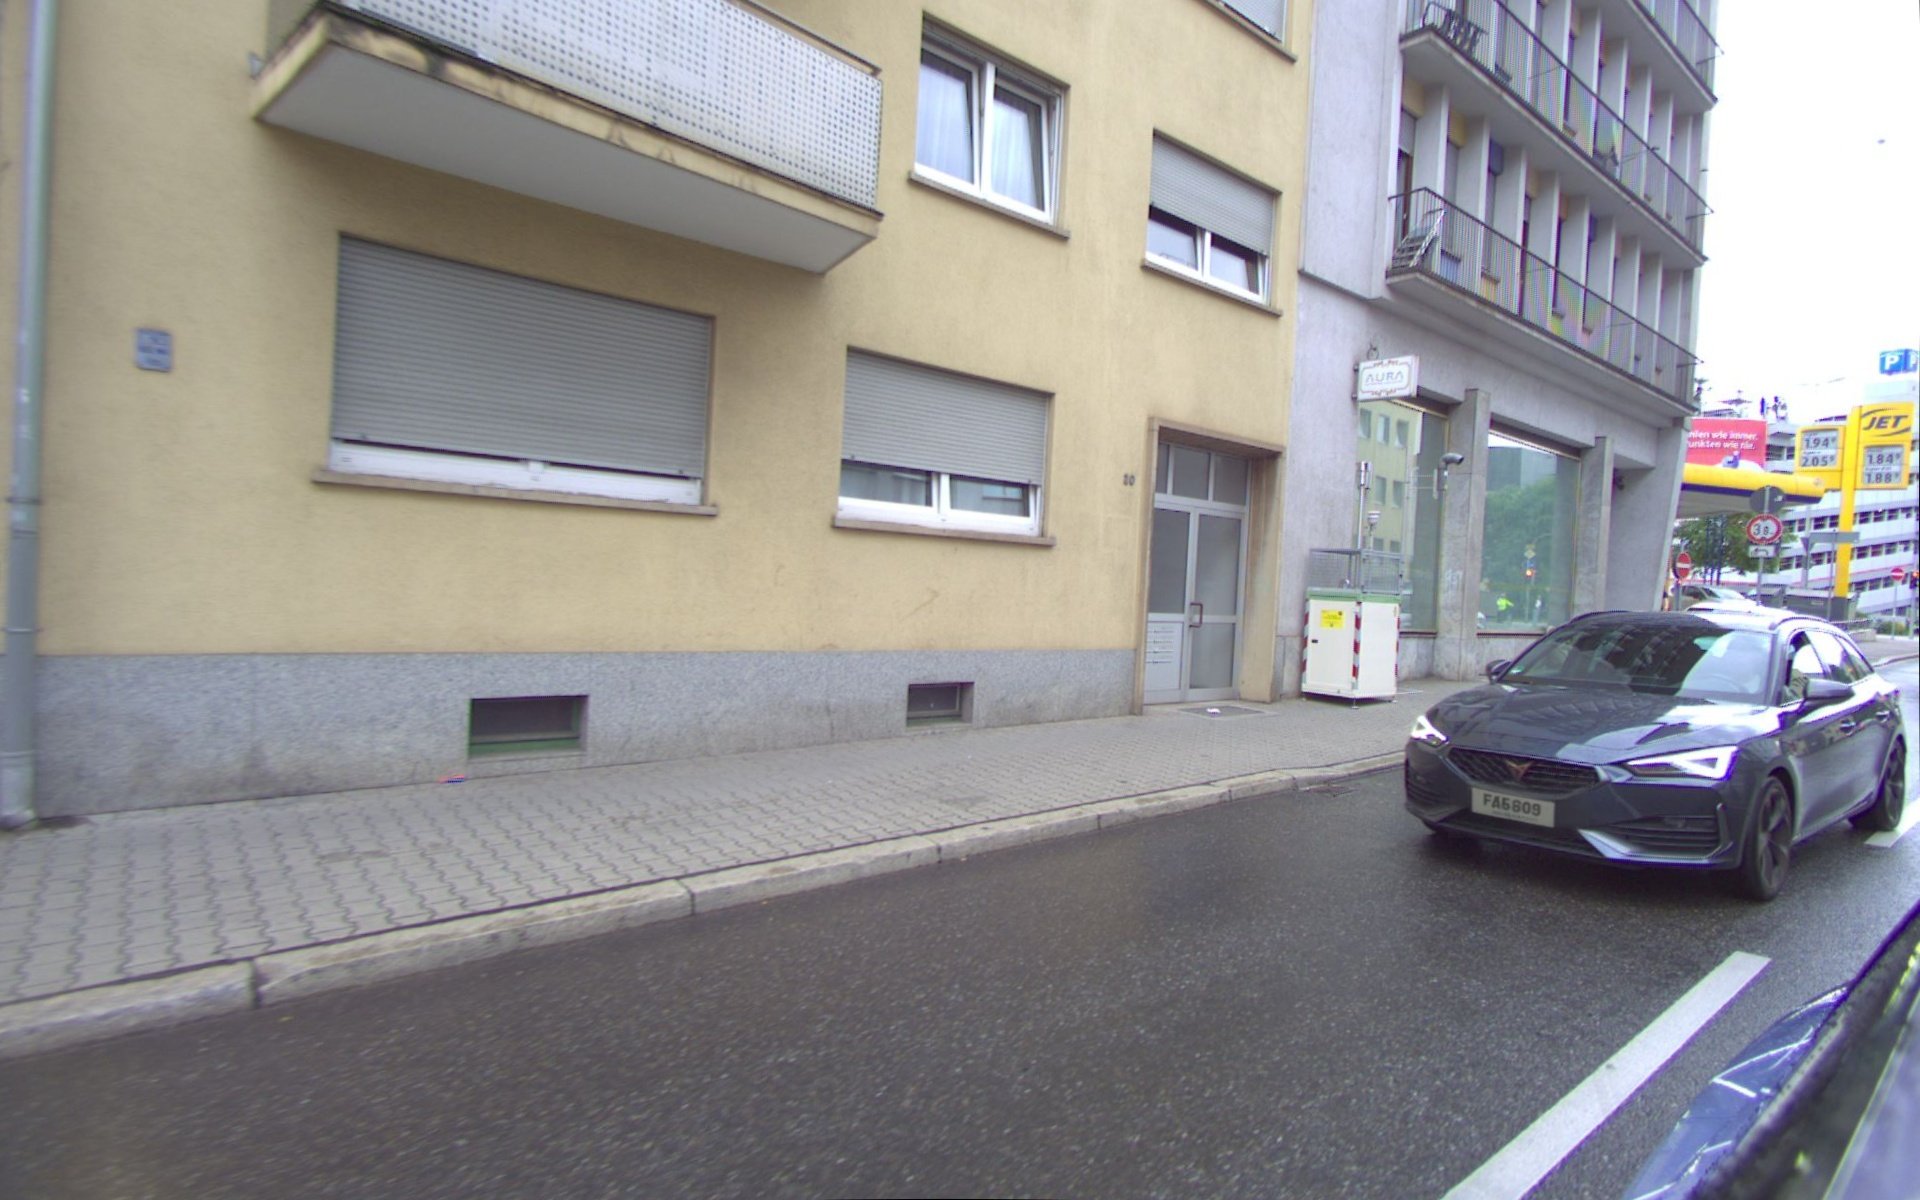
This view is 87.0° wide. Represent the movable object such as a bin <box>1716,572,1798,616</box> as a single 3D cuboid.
[{"bbox_3d":[31.839,-0.234,40.436,1.741,1.574,2.162,1,4,-39],"label":"movable object such as a bin"}]

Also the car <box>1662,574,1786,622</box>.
[{"bbox_3d":[28.710,-0.118,38.186,1.715,1.459,3.998,3,4,4],"label":"car"}]

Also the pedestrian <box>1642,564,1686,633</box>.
[{"bbox_3d":[18.902,-0.045,27.183,0.648,1.792,0.529,4,4,8],"label":"pedestrian"}]

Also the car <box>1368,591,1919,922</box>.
[{"bbox_3d":[4.661,0.701,6.433,4.497,1.405,1.740,1,1,-37],"label":"car"}]

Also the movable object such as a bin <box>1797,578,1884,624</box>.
[{"bbox_3d":[33.540,0.015,38.554,1.741,1.593,2.162,1,3,-39],"label":"movable object such as a bin"}]

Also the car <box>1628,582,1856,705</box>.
[{"bbox_3d":[12.256,0.591,15.748,4.529,1.418,1.898,1,7,-42],"label":"car"}]
